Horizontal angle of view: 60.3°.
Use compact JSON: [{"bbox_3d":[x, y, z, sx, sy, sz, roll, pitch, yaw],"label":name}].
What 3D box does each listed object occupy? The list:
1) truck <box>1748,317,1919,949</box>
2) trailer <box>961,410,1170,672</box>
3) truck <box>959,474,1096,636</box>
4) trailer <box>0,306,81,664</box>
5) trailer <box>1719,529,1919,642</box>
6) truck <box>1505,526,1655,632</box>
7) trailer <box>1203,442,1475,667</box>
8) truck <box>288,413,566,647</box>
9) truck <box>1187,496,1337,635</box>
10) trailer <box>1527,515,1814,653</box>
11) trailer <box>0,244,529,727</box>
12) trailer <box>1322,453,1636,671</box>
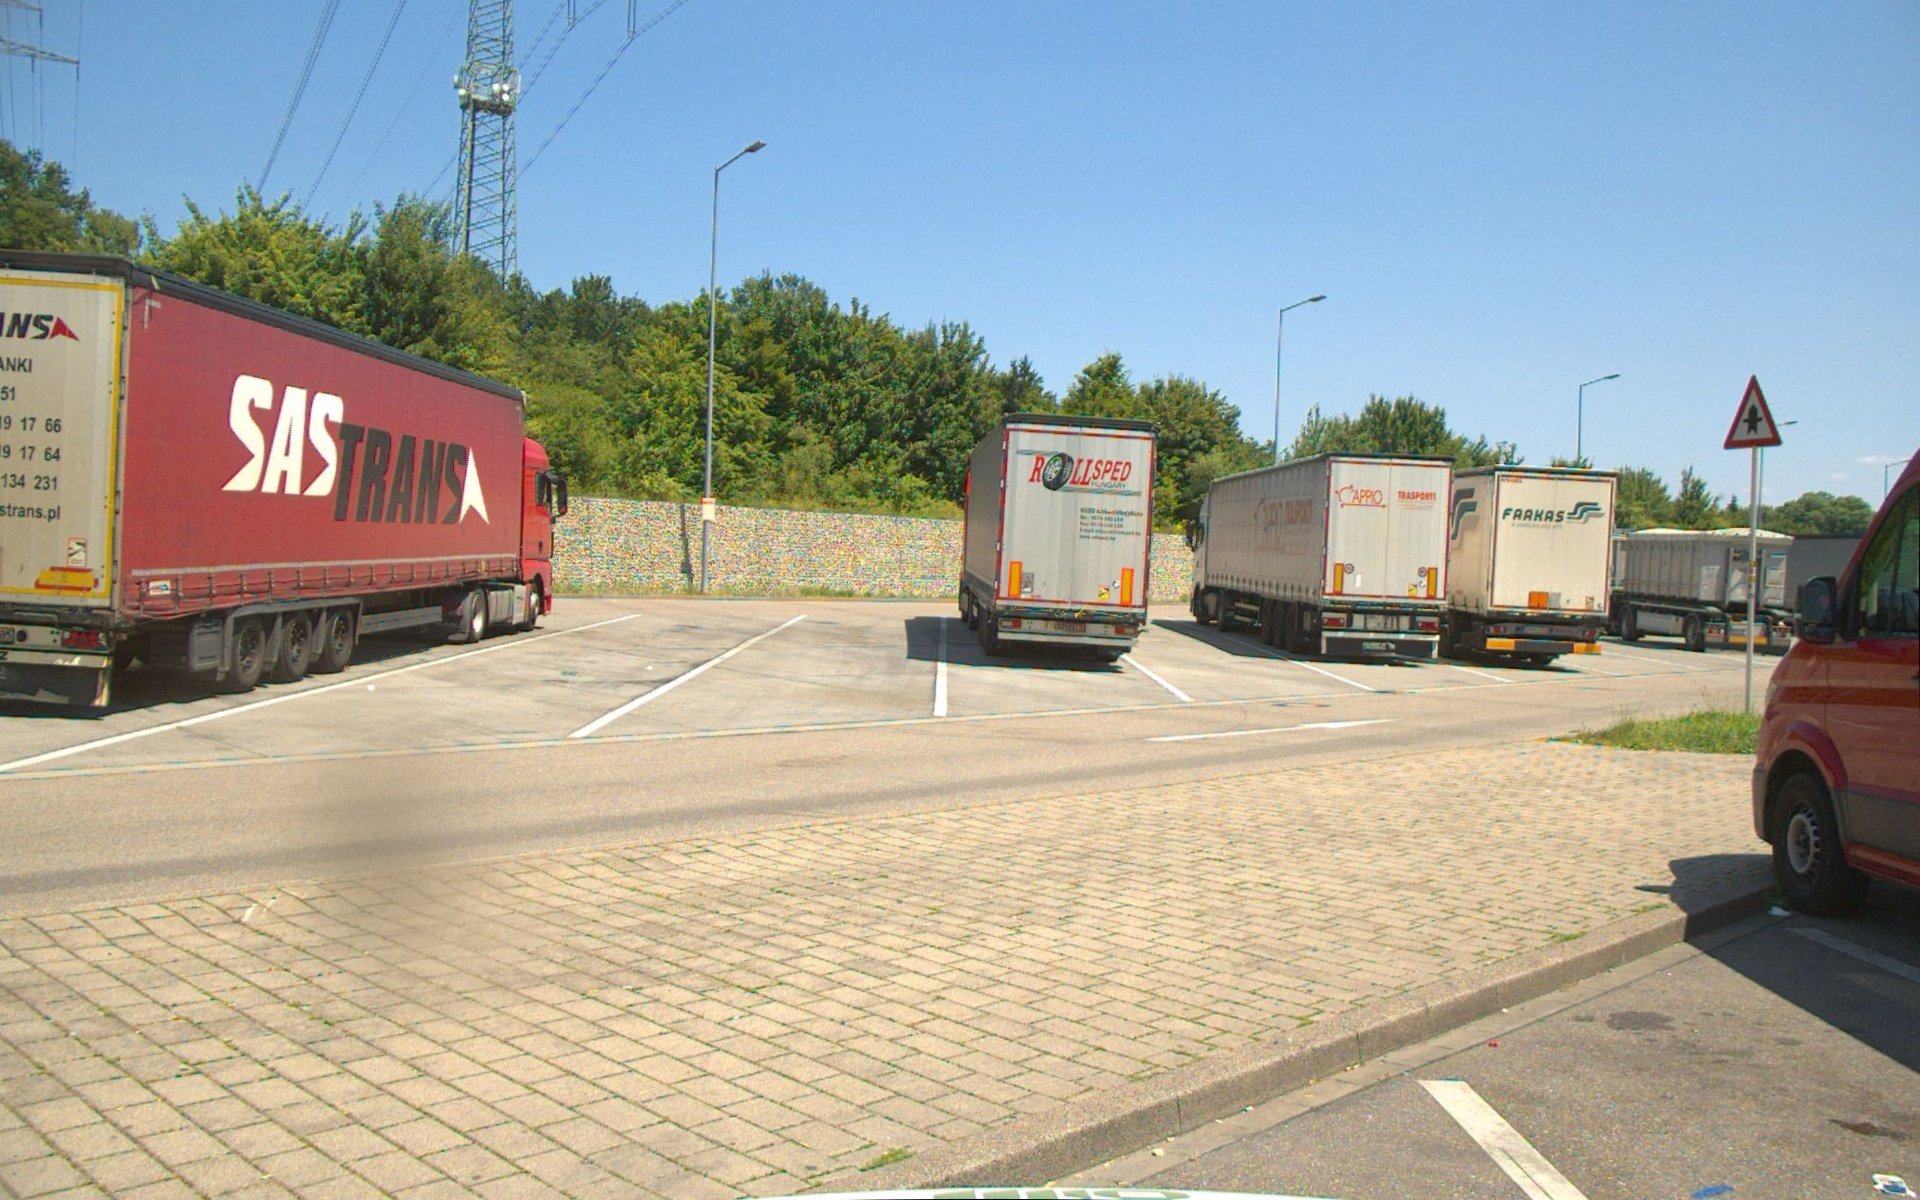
[{"bbox_3d":[4.994,0.151,5.516,1.969,2.697,6.457,1,0,3],"label":"truck"},{"bbox_3d":[1.676,-1.176,33.148,2.800,4.040,13.761,2,2,-2],"label":"trailer"},{"bbox_3d":[1.475,-1.091,39.345,2.808,3.421,5.974,2,2,-1],"label":"truck"},{"bbox_3d":[-12.487,-1.258,15.794,2.651,4.173,10.389,2,2,-1],"label":"trailer"},{"bbox_3d":[34.789,-0.716,65.443,2.800,3.972,13.762,2,2,-1],"label":"trailer"},{"bbox_3d":[21.738,-0.798,58.339,2.808,3.421,5.974,2,2,-1],"label":"truck"},{"bbox_3d":[8.250,-1.104,38.501,2.800,4.180,13.762,2,2,-1],"label":"trailer"},{"bbox_3d":[-8.799,-1.161,28.066,2.755,3.421,5.974,2,2,-1],"label":"truck"},{"bbox_3d":[8.127,-0.985,45.263,2.808,3.421,5.974,2,2,-1],"label":"truck"},{"bbox_3d":[21.836,-0.685,52.244,2.800,3.662,13.762,2,2,-1],"label":"trailer"},{"bbox_3d":[-8.691,-1.269,21.250,2.764,4.141,13.763,2,2,-1],"label":"trailer"},{"bbox_3d":[11.769,-0.994,39.565,2.800,4.180,13.762,2,2,-1],"label":"trailer"}]
